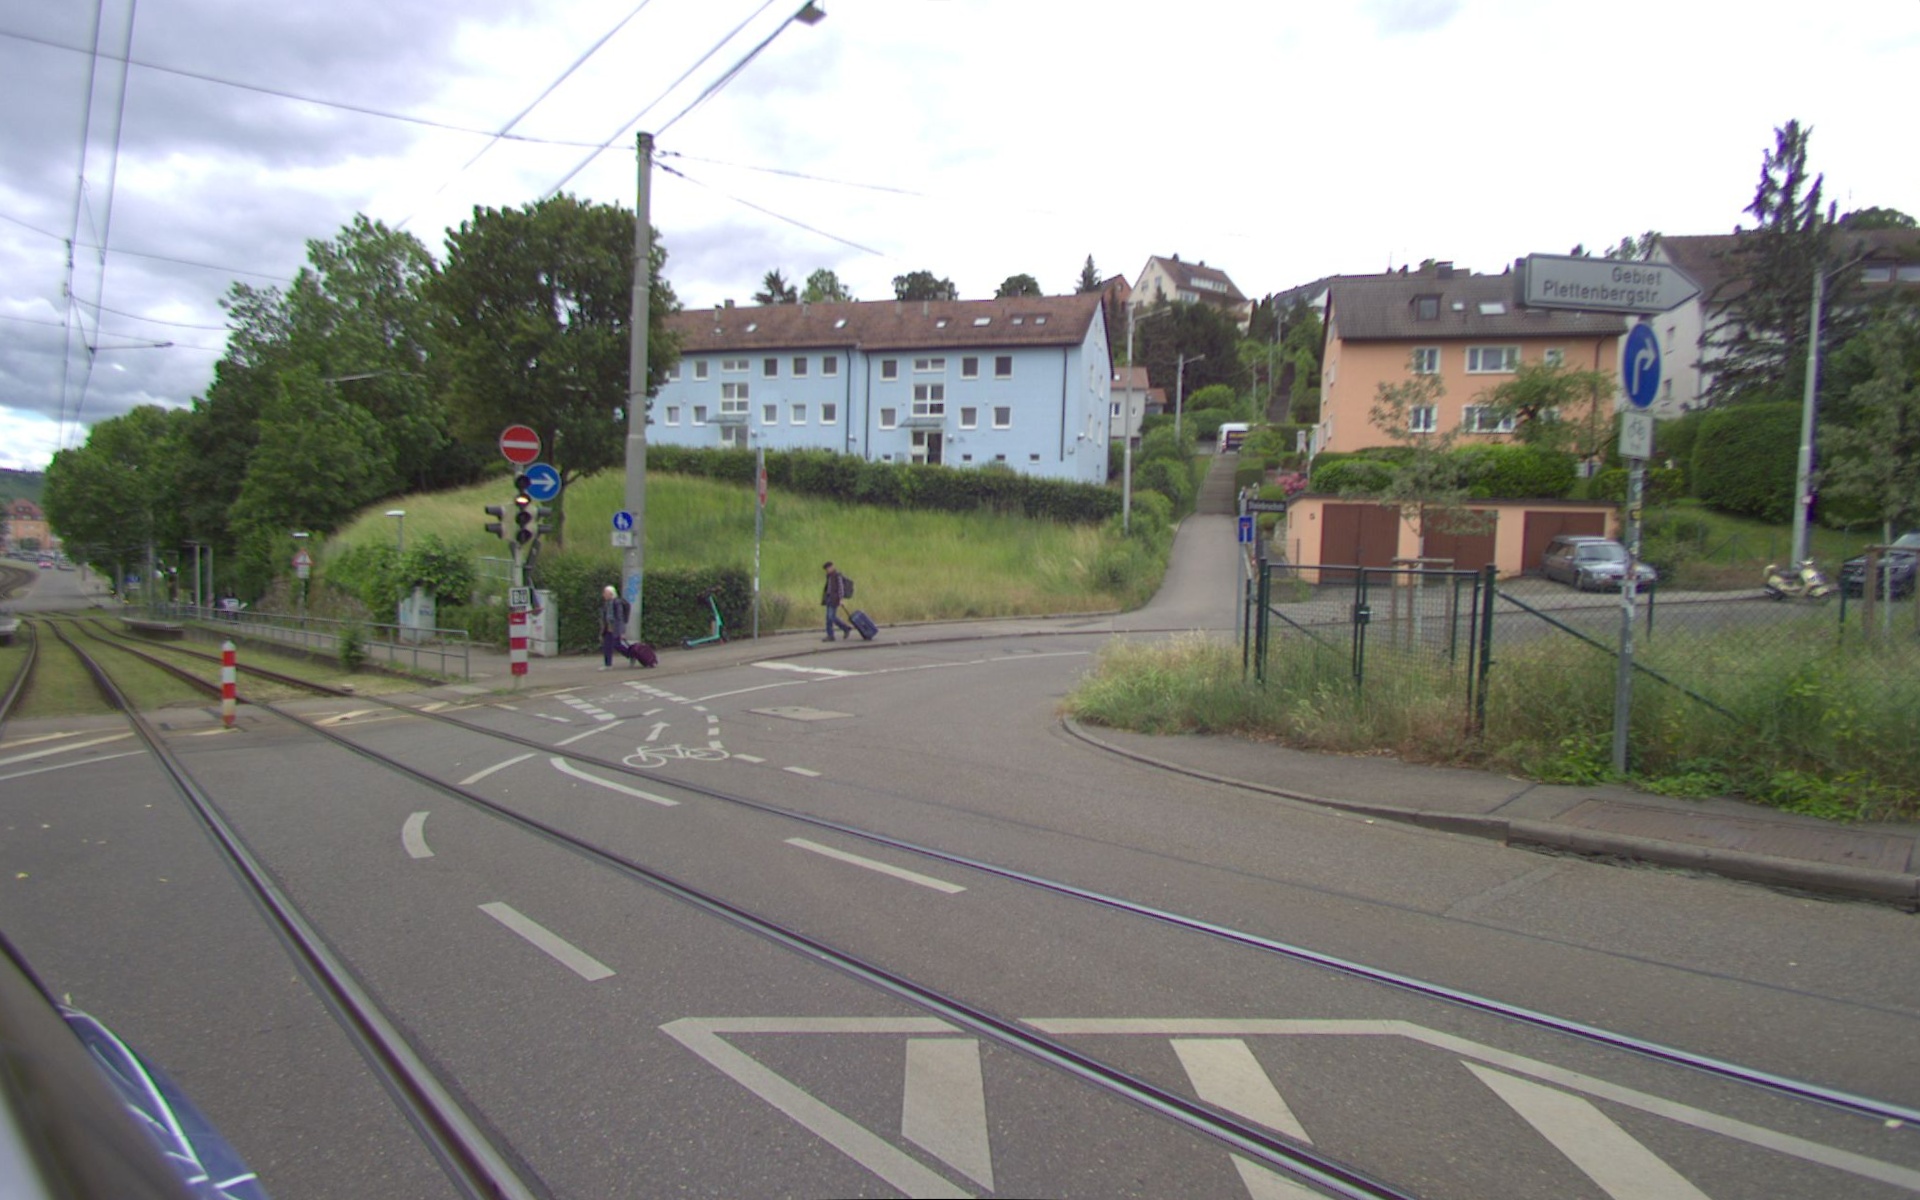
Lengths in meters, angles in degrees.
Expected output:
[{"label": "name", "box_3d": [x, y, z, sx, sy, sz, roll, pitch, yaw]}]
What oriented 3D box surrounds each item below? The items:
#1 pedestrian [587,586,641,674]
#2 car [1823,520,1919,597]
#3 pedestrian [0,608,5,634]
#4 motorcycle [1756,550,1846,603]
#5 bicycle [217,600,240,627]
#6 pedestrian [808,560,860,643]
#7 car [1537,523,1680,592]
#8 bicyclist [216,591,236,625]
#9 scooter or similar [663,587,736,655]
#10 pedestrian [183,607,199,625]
[{"label": "pedestrian", "box_3d": [-6.468, 0.533, 18.899, 0.741, 1.586, 0.759, -1, 1, -36]}, {"label": "car", "box_3d": [23.676, -1.097, 24.252, 4.384, 1.702, 1.979, -4, 2, -5]}, {"label": "pedestrian", "box_3d": [-56.673, 1.268, 59.455, 0.728, 1.514, 0.627, -2, 0, -42]}, {"label": "motorcycle", "box_3d": [20.346, -0.594, 24.528, 0.513, 1.165, 1.708, -1, 5, -7]}, {"label": "bicycle", "box_3d": [-36.344, 0.682, 50.244, 0.741, 1.249, 2.872, -2, 1, -39]}, {"label": "pedestrian", "box_3d": [-2.740, 0.021, 21.927, 0.887, 1.763, 0.745, -1, 1, -29]}, {"label": "car", "box_3d": [18.573, -1.298, 29.273, 1.981, 1.623, 4.861, 0, 6, 14]}, {"label": "bicyclist", "box_3d": [-36.888, 0.393, 50.857, 0.695, 1.641, 1.034, -2, 1, -39]}, {"label": "scooter or similar", "box_3d": [-5.526, 0.423, 21.549, 1.392, 1.298, 0.419, -7, 5, -42]}, {"label": "pedestrian", "box_3d": [-58.694, 1.239, 77.247, 0.774, 1.333, 0.812, 0, 1, 41]}]
